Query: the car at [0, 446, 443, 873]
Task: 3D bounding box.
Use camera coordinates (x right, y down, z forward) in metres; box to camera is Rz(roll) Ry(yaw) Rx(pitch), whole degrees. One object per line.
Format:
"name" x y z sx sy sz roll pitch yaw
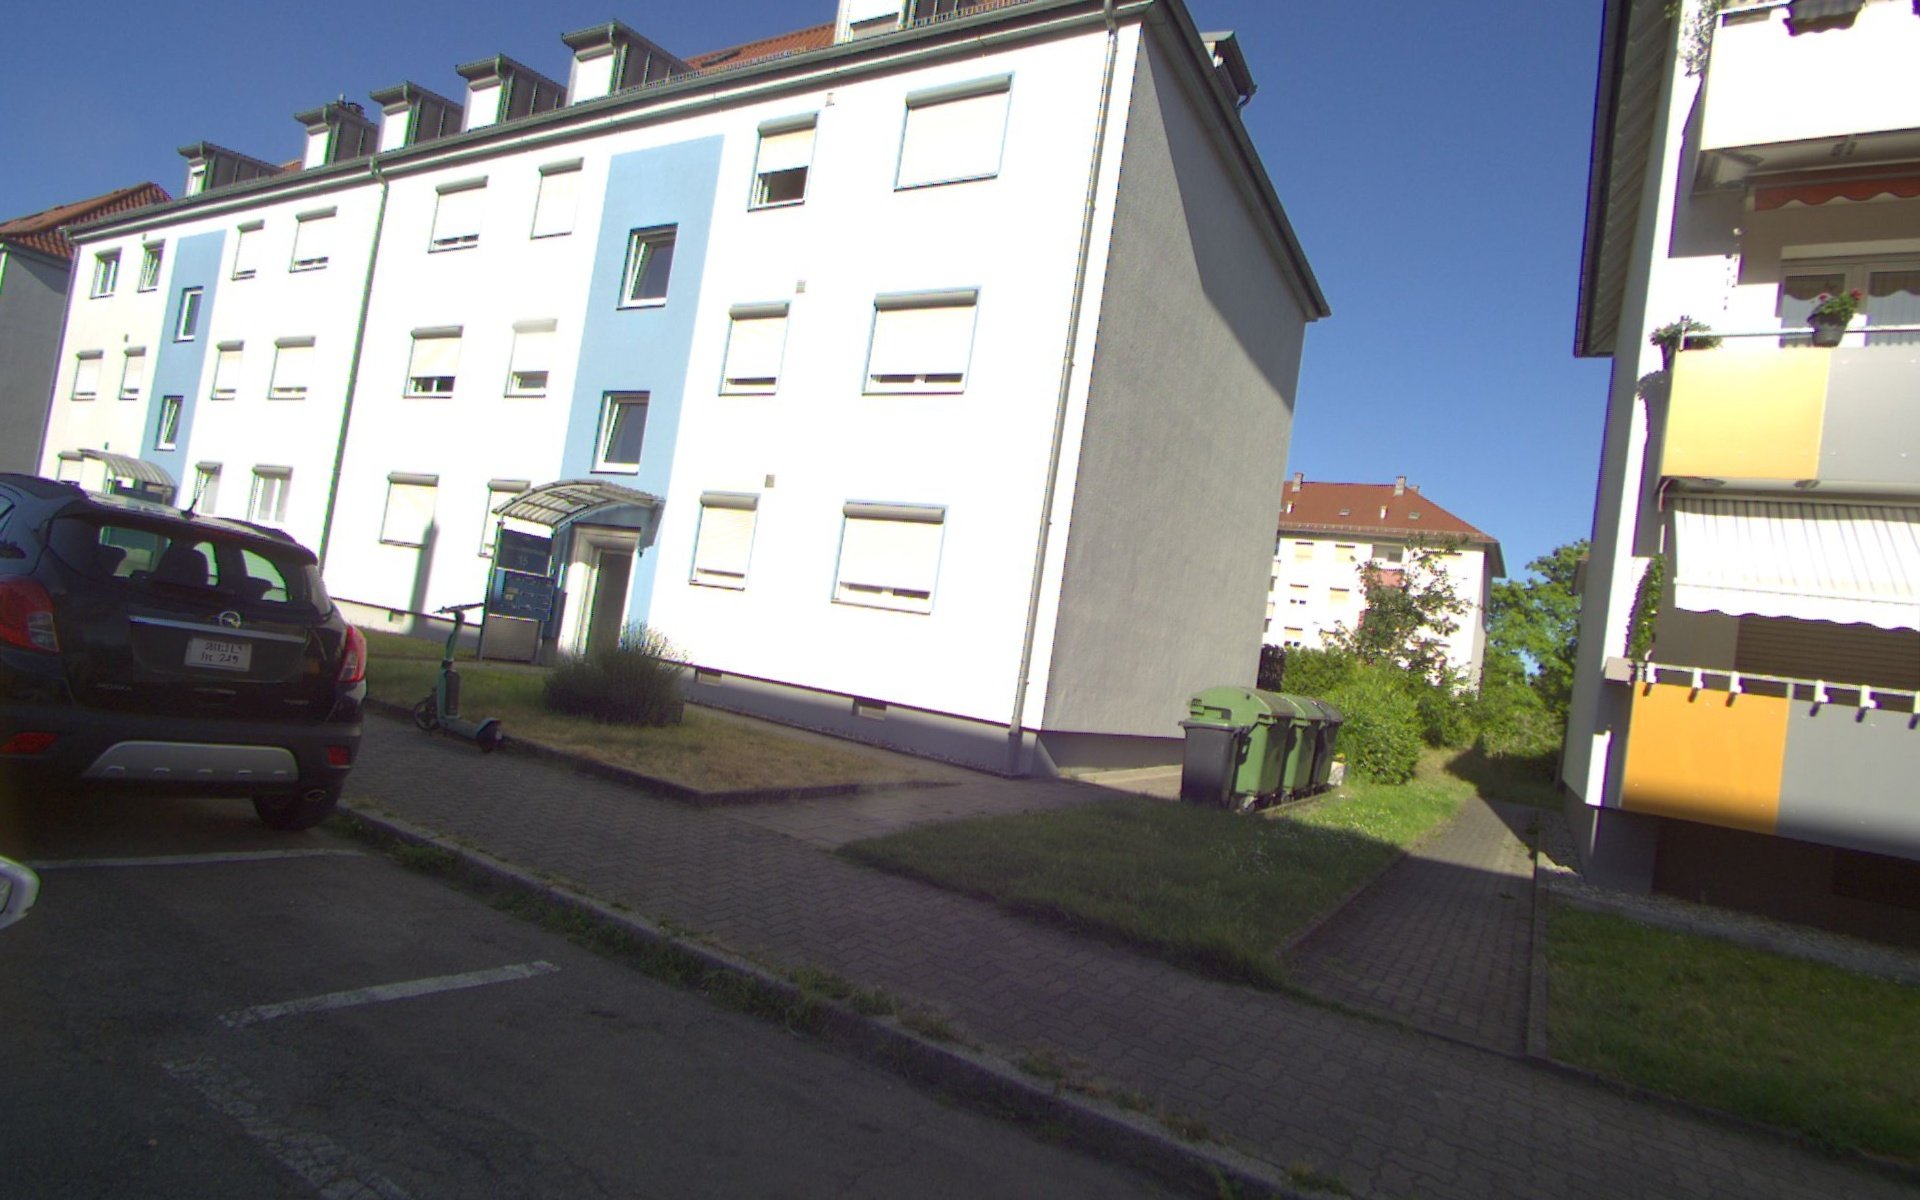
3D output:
"car" -5.201 0.128 5.775 4.395 1.665 1.789 8 -4 32

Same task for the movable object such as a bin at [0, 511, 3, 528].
"movable object such as a bin" -31.957 -2.525 33.029 0.622 0.896 0.524 8 -2 32

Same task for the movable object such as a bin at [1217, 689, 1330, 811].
"movable object such as a bin" 4.242 1.986 13.560 1.038 1.428 1.346 5 -2 32

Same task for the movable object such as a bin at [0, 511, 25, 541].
"movable object such as a bin" -31.661 -2.467 33.499 0.622 0.896 0.524 8 -2 32

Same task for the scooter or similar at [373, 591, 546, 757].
"scooter or similar" -4.319 0.605 8.644 1.562 1.163 0.484 8 1 32

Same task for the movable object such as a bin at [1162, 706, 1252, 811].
"movable object such as a bin" 2.813 1.785 11.454 0.745 1.046 0.644 5 -2 32

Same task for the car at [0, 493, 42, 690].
"car" -9.490 -0.370 8.323 4.088 1.515 1.646 8 -3 32

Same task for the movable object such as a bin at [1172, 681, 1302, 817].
"movable object such as a bin" 3.402 1.779 12.269 1.088 1.423 1.330 5 -2 32

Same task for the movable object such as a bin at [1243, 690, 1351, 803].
"movable object such as a bin" 4.977 2.126 14.800 1.124 1.442 1.346 5 -2 32
